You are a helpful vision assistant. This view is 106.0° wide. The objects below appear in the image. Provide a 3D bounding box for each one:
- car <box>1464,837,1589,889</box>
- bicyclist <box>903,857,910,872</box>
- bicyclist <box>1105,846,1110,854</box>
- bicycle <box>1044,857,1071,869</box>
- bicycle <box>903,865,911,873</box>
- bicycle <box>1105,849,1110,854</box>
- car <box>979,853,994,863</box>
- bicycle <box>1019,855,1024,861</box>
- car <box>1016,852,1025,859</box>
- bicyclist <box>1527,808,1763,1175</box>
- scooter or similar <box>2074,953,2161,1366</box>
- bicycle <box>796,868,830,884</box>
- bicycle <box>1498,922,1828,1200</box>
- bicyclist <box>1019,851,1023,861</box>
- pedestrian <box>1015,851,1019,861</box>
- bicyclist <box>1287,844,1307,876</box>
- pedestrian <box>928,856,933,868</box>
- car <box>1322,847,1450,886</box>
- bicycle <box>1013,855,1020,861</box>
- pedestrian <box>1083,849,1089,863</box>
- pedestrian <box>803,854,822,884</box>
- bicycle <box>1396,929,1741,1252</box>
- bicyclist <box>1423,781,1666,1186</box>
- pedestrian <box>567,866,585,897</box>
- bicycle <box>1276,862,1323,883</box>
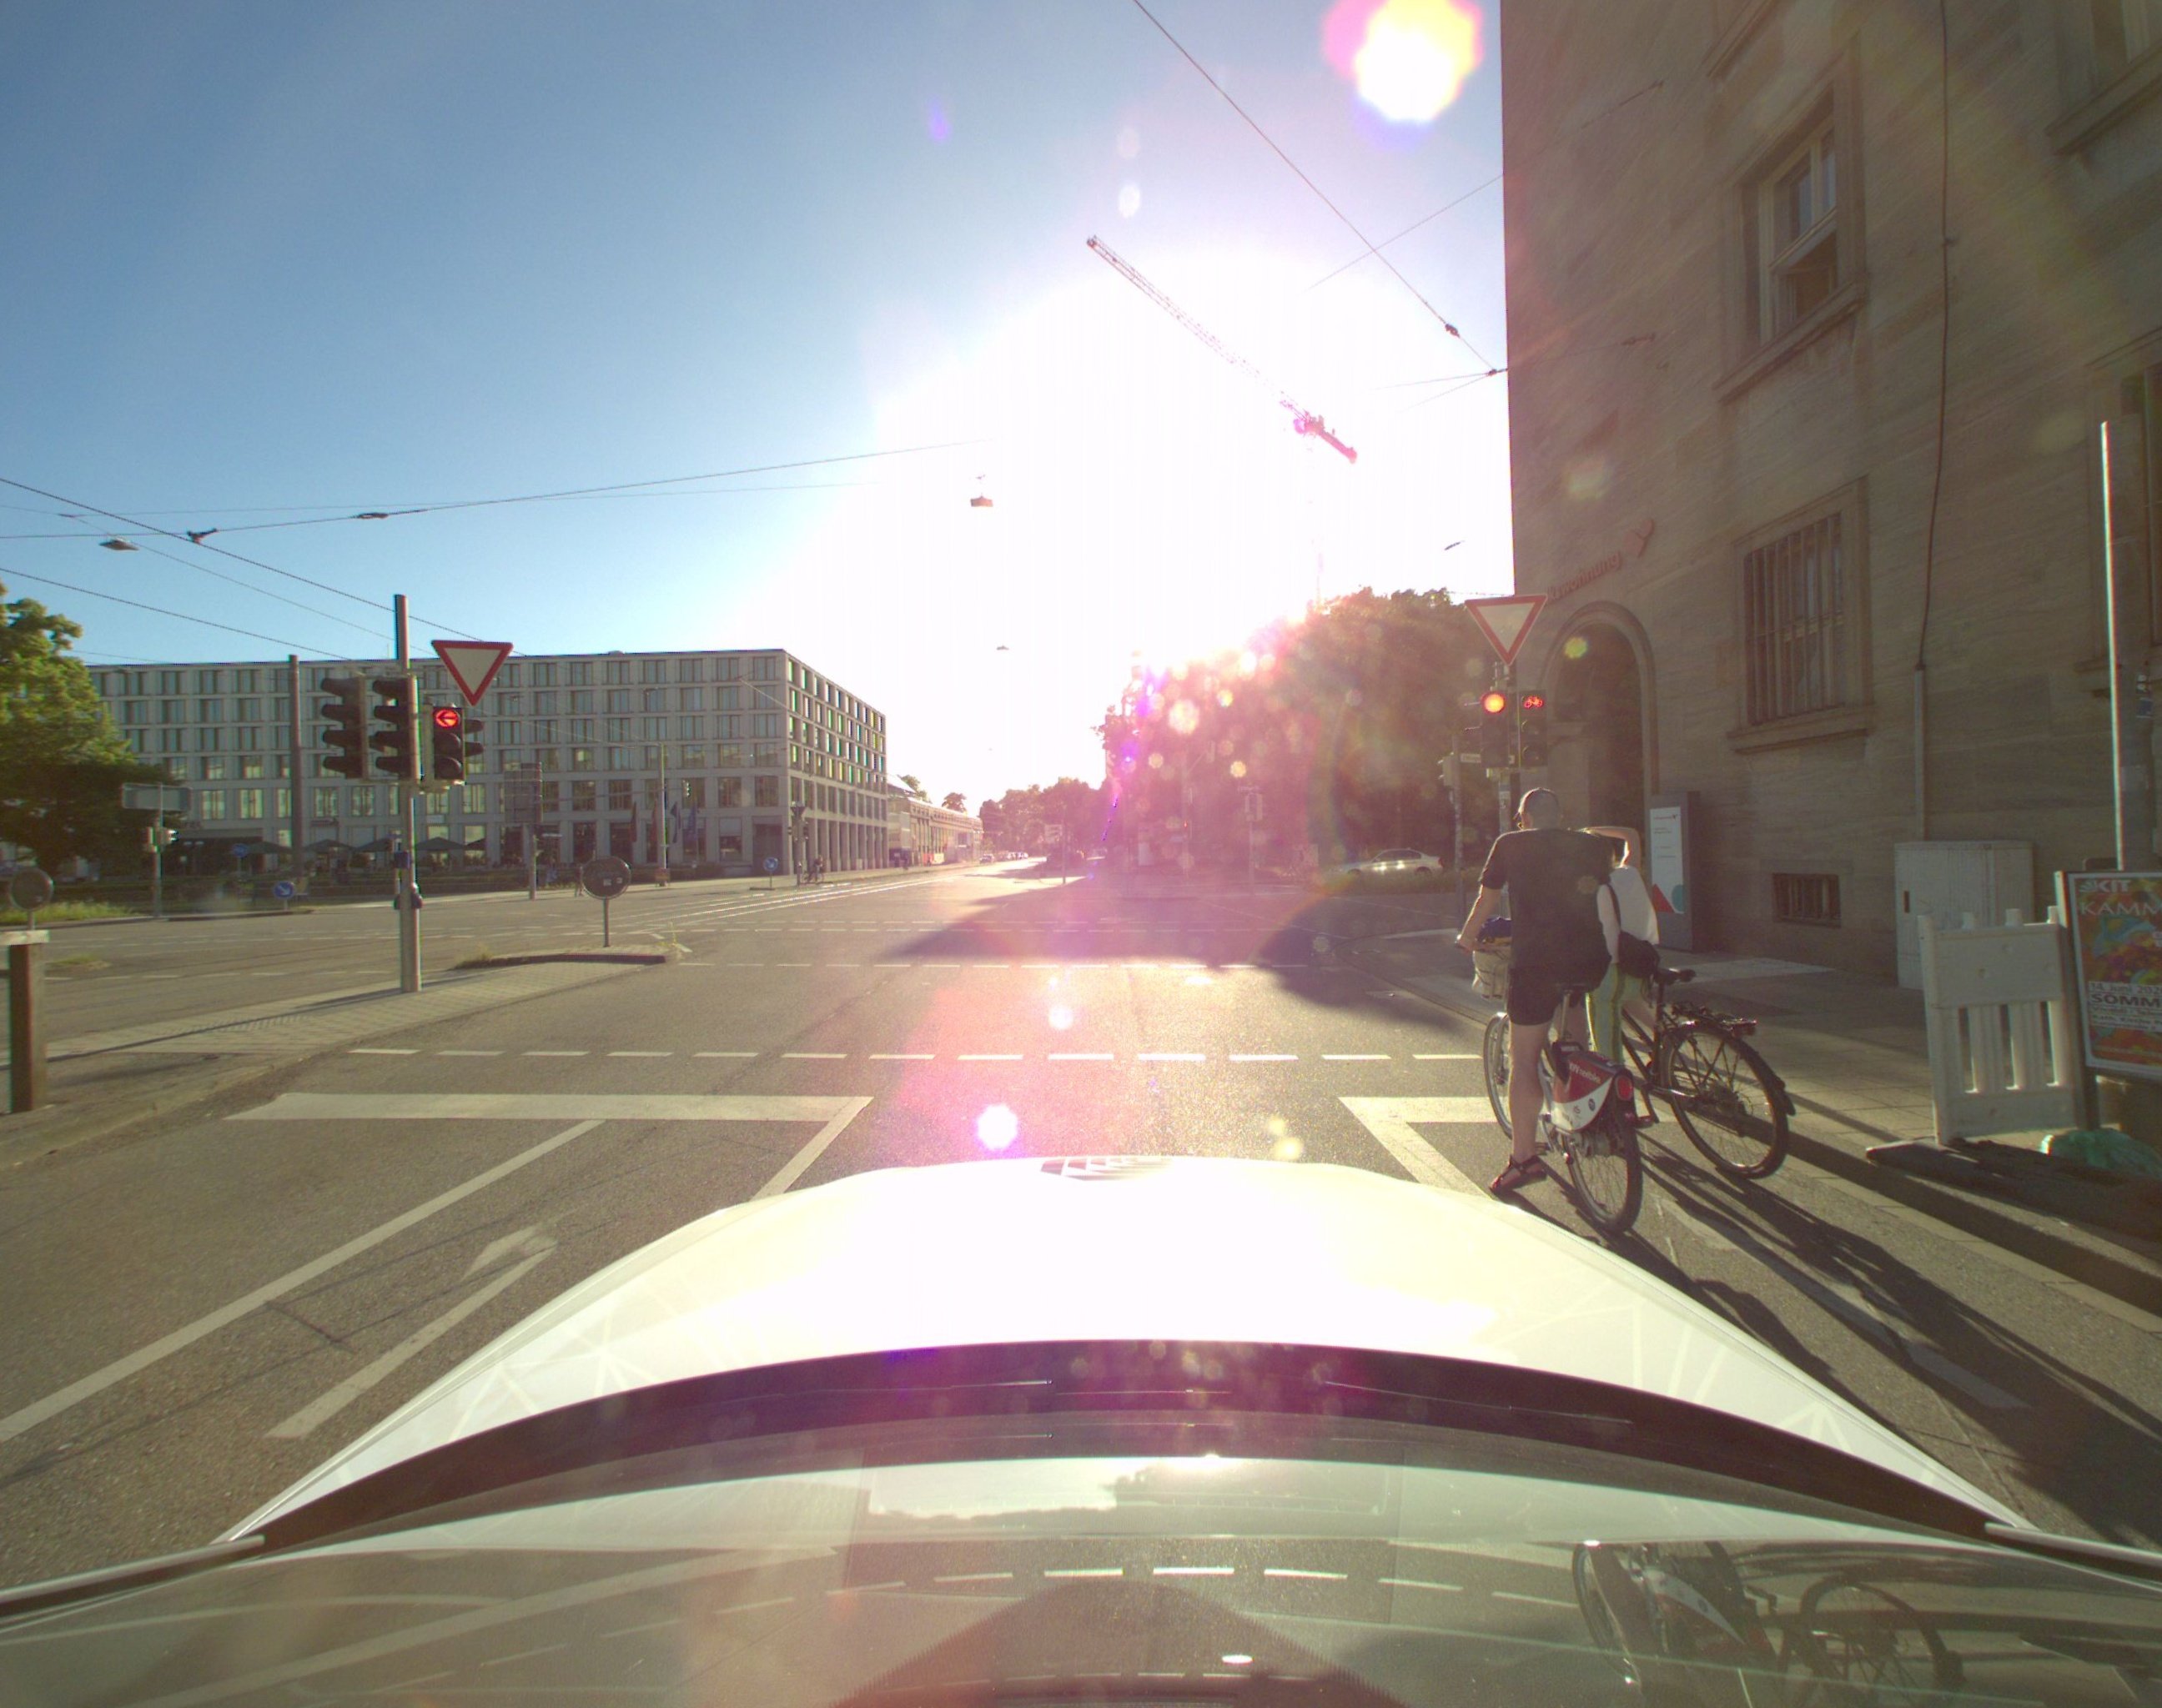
[{"bbox_3d":[17.881,0.353,32.855,3.970,2.014,2.002,0,-1,3],"label":"car"},{"bbox_3d":[-18.214,1.111,85.036,0.492,1.498,0.667,-2,0,4],"label":"bicyclist"},{"bbox_3d":[6.514,-1.029,200.640,0.891,2.014,0.746,0,-1,-10],"label":"bicyclist"},{"bbox_3d":[-1.941,0.737,67.436,2.240,0.940,0.653,-2,0,-4],"label":"bicycle"},{"bbox_3d":[-18.197,1.562,85.046,0.492,0.839,1.158,-2,0,4],"label":"bicycle"},{"bbox_3d":[6.533,-0.631,200.618,0.890,1.219,2.784,0,-1,-9],"label":"bicycle"},{"bbox_3d":[-15.815,0.707,136.359,1.988,1.599,3.999,-2,0,-1],"label":"car"},{"bbox_3d":[-12.235,0.798,167.280,0.748,1.205,3.108,0,-1,1],"label":"bicycle"},{"bbox_3d":[-14.448,0.310,195.324,1.988,1.644,3.998,-2,0,-1],"label":"car"},{"bbox_3d":[2.954,0.658,4.368,0.581,1.738,0.951,-2,0,2],"label":"bicyclist"},{"bbox_3d":[3.363,0.867,1.864,0.571,1.150,1.271,-1,-1,-2],"label":"scooter or similar"},{"bbox_3d":[-14.606,1.184,44.366,1.699,0.823,0.576,-2,0,16],"label":"bicycle"},{"bbox_3d":[2.964,0.973,4.402,0.579,1.044,1.748,-2,0,3],"label":"bicycle"},{"bbox_3d":[-12.242,0.408,167.164,0.748,1.920,1.214,0,-1,1],"label":"bicyclist"},{"bbox_3d":[-12.706,0.351,161.858,0.746,2.063,1.052,0,-1,7],"label":"pedestrian"},{"bbox_3d":[9.618,0.268,36.294,0.742,1.406,0.704,0,-1,8],"label":"bicyclist"},{"bbox_3d":[-23.391,1.277,126.474,0.583,1.889,0.480,-1,-1,19],"label":"pedestrian"},{"bbox_3d":[12.435,0.506,33.412,4.559,1.516,2.001,0,-1,1],"label":"car"},{"bbox_3d":[-12.746,0.786,161.790,0.746,1.205,3.114,0,-1,7],"label":"bicycle"},{"bbox_3d":[0.589,0.266,97.773,0.576,1.689,0.584,-2,0,-6],"label":"pedestrian"},{"bbox_3d":[-14.652,0.792,44.371,0.736,1.595,0.576,-2,0,17],"label":"pedestrian"},{"bbox_3d":[2.183,0.974,3.956,0.621,1.044,1.747,-2,0,1],"label":"bicycle"},{"bbox_3d":[2.176,0.554,3.946,0.621,1.715,0.913,-2,0,1],"label":"bicyclist"},{"bbox_3d":[-28.242,1.547,45.540,0.600,1.681,0.608,-2,0,9],"label":"pedestrian"},{"bbox_3d":[9.711,0.831,36.282,1.932,0.889,0.719,-1,-1,8],"label":"bicycle"}]
